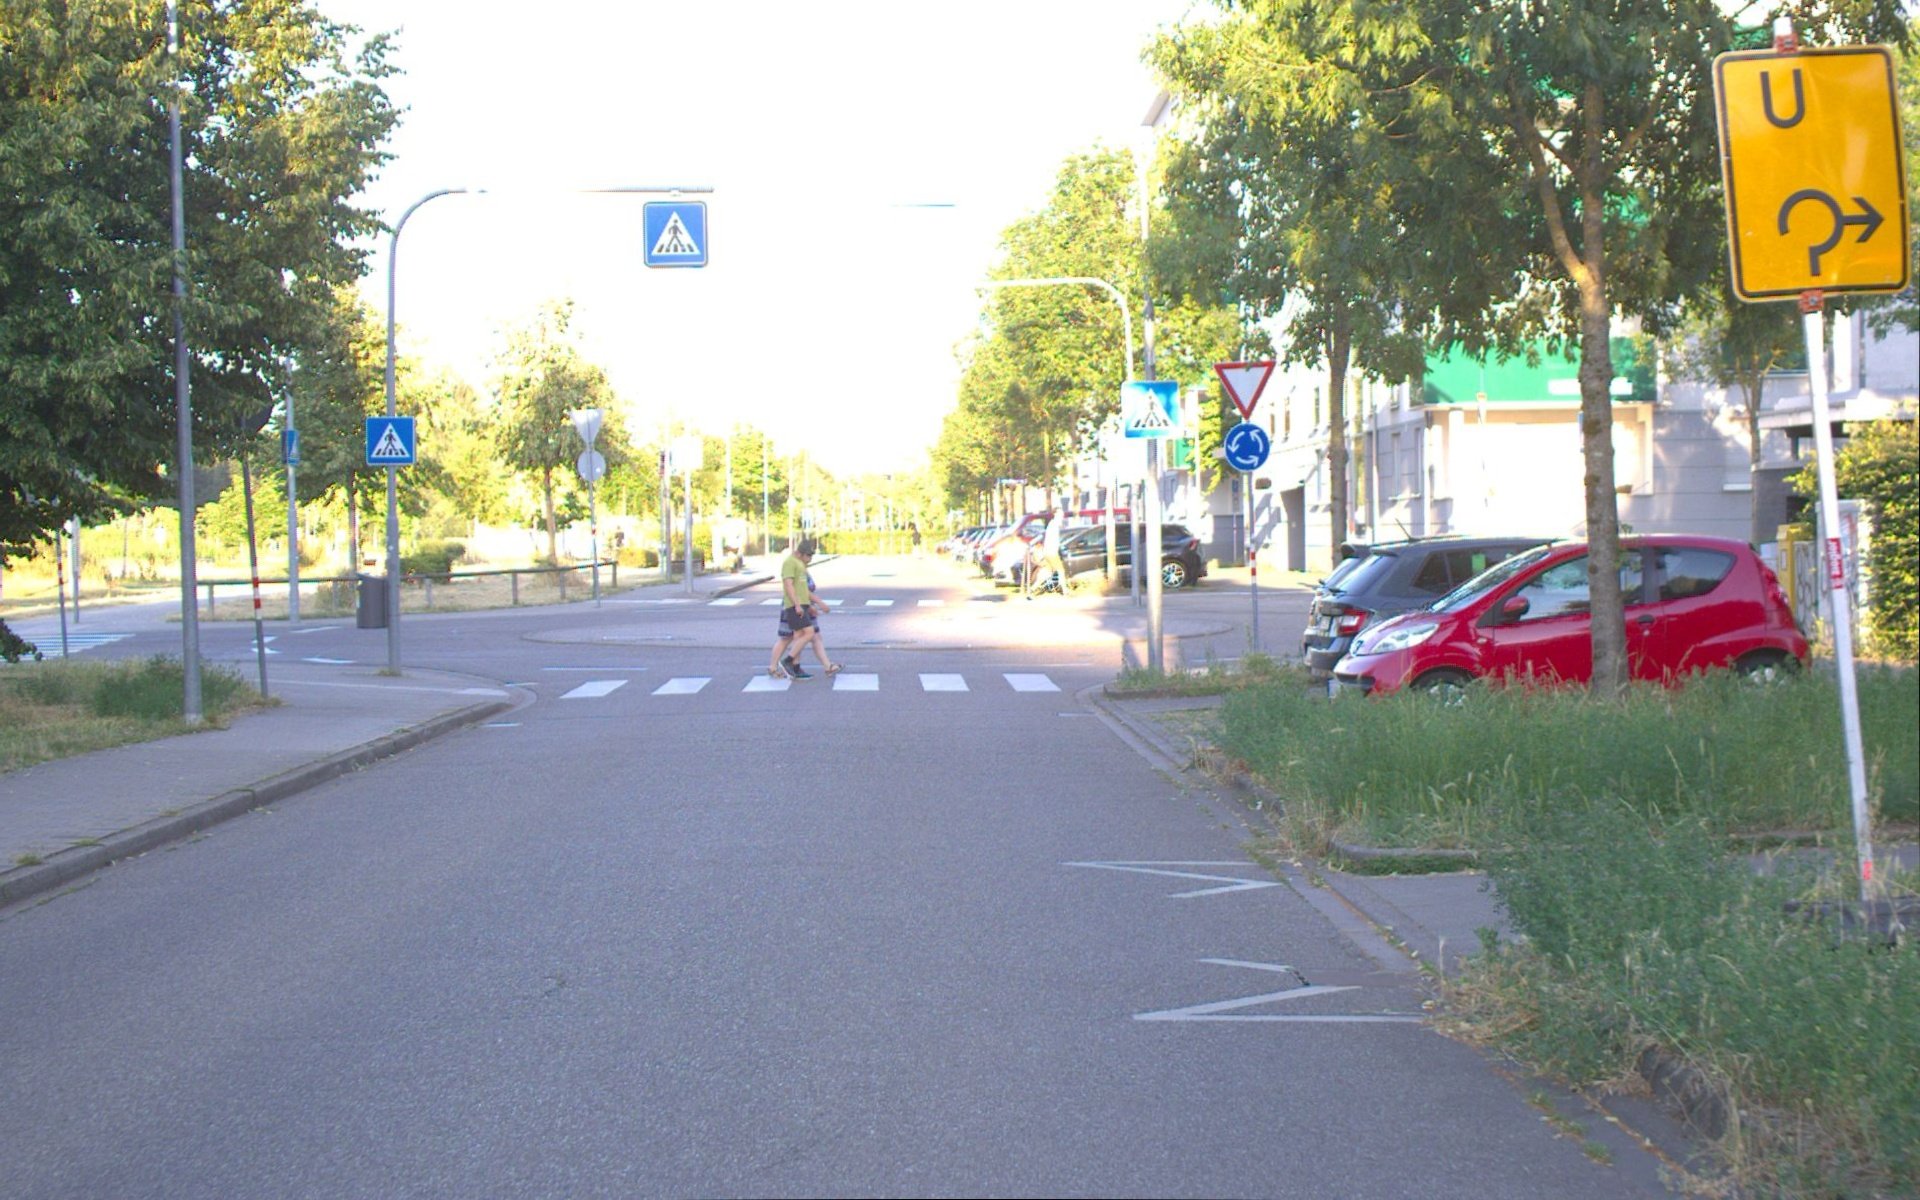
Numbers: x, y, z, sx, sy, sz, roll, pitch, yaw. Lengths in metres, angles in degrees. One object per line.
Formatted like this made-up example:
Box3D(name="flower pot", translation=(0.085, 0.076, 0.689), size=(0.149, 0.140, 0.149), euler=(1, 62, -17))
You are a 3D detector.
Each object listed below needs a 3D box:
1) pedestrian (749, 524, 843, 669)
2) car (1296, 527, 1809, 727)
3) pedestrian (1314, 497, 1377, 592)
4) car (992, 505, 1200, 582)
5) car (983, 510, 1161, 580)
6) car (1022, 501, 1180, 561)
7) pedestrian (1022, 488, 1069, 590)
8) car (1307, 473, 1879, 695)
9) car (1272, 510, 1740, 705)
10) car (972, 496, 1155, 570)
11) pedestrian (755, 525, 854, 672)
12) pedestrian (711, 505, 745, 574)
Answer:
Box3D(name="pedestrian", translation=(-1.955, -0.053, 40.943), size=(0.983, 1.687, 0.700), euler=(-1, 1, -12))
Box3D(name="car", translation=(4.741, 0.193, 27.835), size=(3.802, 1.503, 1.679), euler=(-1, 1, -3))
Box3D(name="pedestrian", translation=(7.239, -1.043, 64.557), size=(1.003, 1.782, 0.762), euler=(0, 1, -7))
Box3D(name="car", translation=(2.962, -1.246, 75.544), size=(4.484, 1.590, 2.000), euler=(-1, 1, 1))
Box3D(name="car", translation=(2.691, -1.343, 83.464), size=(4.263, 1.590, 2.000), euler=(-1, 1, 1))
Box3D(name="car", translation=(3.900, -1.915, 95.706), size=(4.263, 1.590, 2.000), euler=(-1, 1, -1))
Box3D(name="pedestrian", translation=(1.715, -1.219, 68.656), size=(0.846, 2.007, 0.943), euler=(-1, 1, 5))
Box3D(name="car", translation=(4.557, -0.137, 25.086), size=(3.802, 1.503, 1.679), euler=(-1, 1, -3))
Box3D(name="car", translation=(4.815, 0.040, 30.588), size=(3.802, 1.503, 1.679), euler=(-2, 4, -4))
Box3D(name="car", translation=(2.949, -1.929, 98.747), size=(5.002, 2.038, 2.251), euler=(-1, 1, -5))
Box3D(name="pedestrian", translation=(-1.824, -0.027, 40.221), size=(1.018, 1.687, 0.760), euler=(-1, 1, -12))
Box3D(name="pedestrian", translation=(-6.822, -1.779, 100.962), size=(0.866, 2.007, 0.790), euler=(-1, 1, -11))
